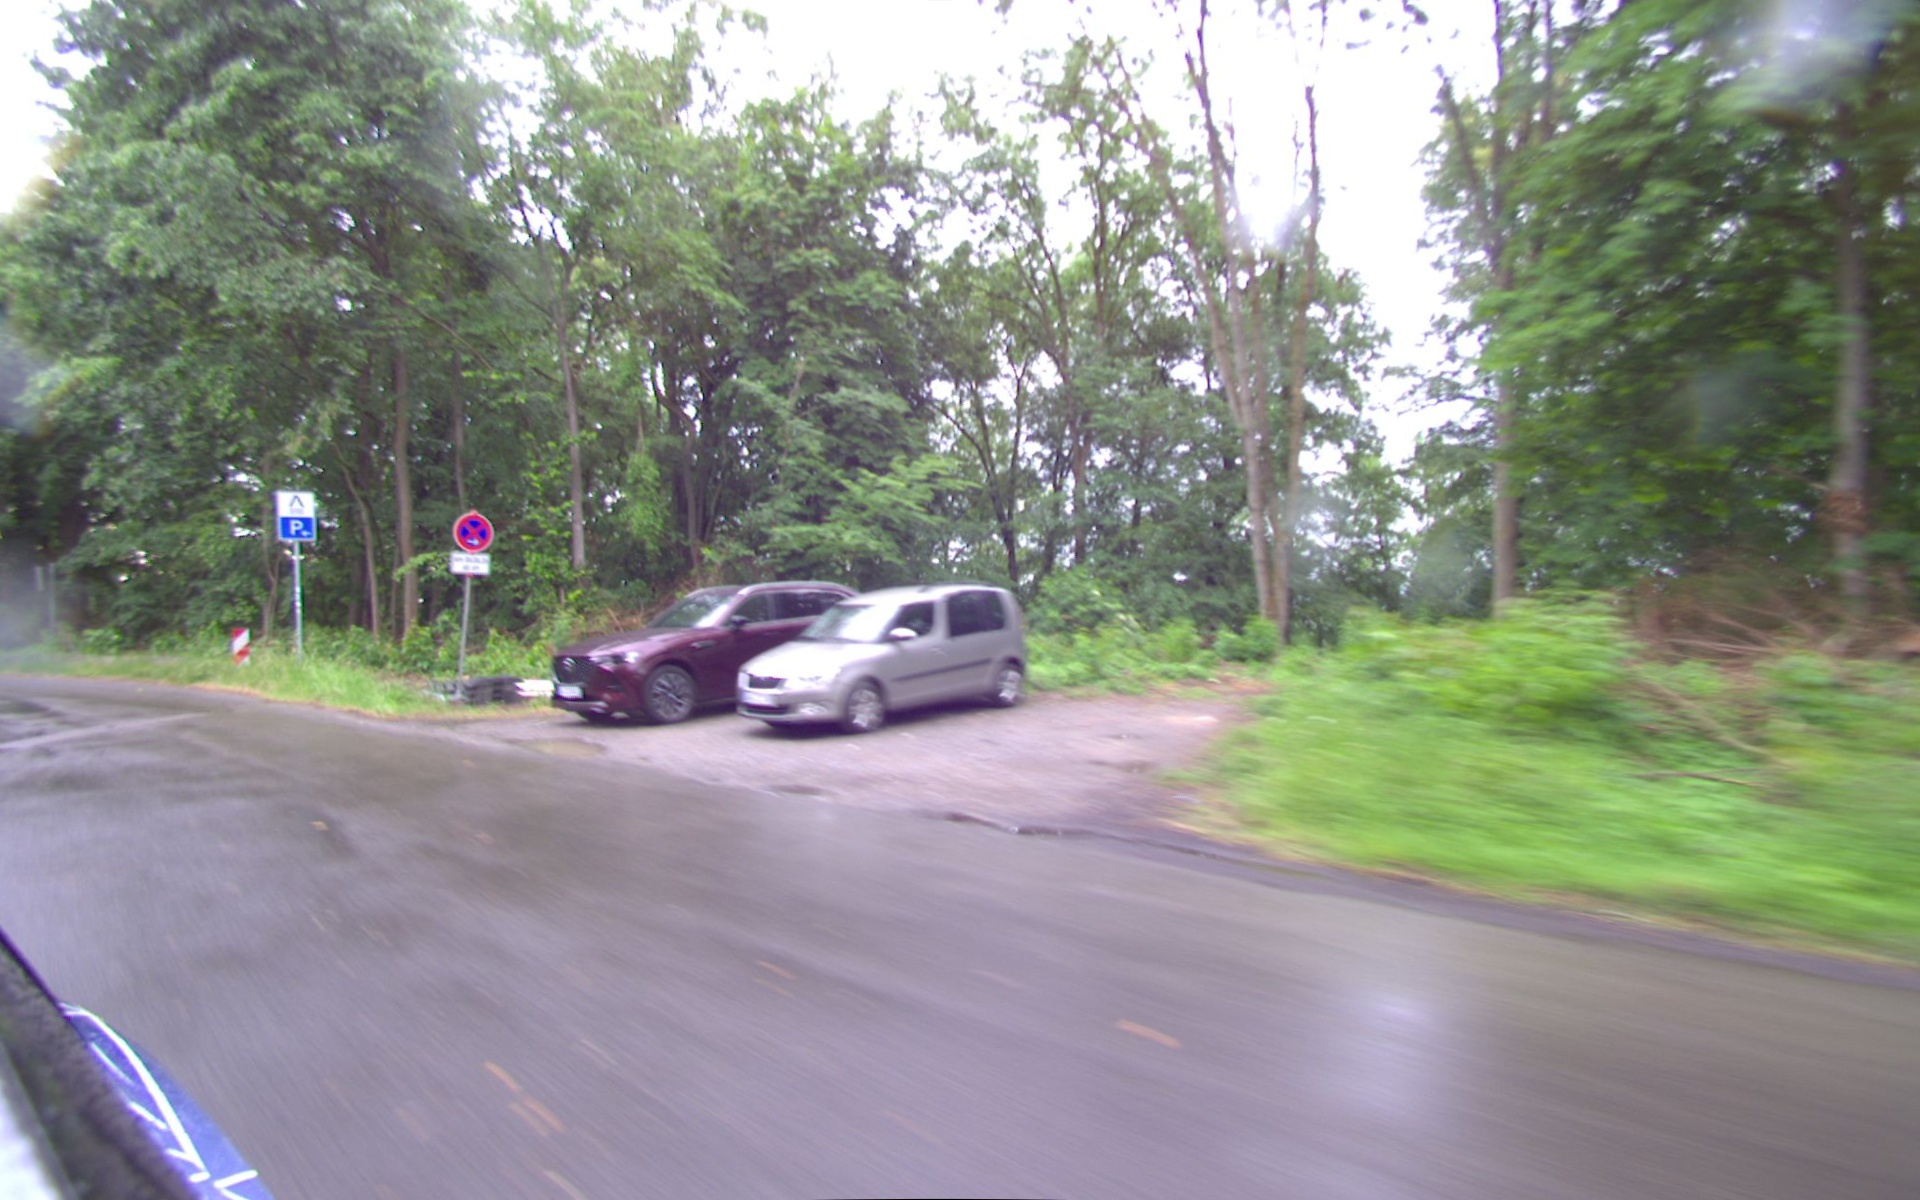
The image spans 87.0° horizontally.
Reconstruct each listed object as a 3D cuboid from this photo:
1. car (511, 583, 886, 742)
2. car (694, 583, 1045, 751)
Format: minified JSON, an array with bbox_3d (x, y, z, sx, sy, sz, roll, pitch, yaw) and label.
[{"bbox_3d":[-3.383,0.712,13.971,1.874,1.690,4.777,-3,1,40],"label":"car"},{"bbox_3d":[-0.933,0.675,12.251,1.773,1.566,4.093,-3,1,41],"label":"car"}]
